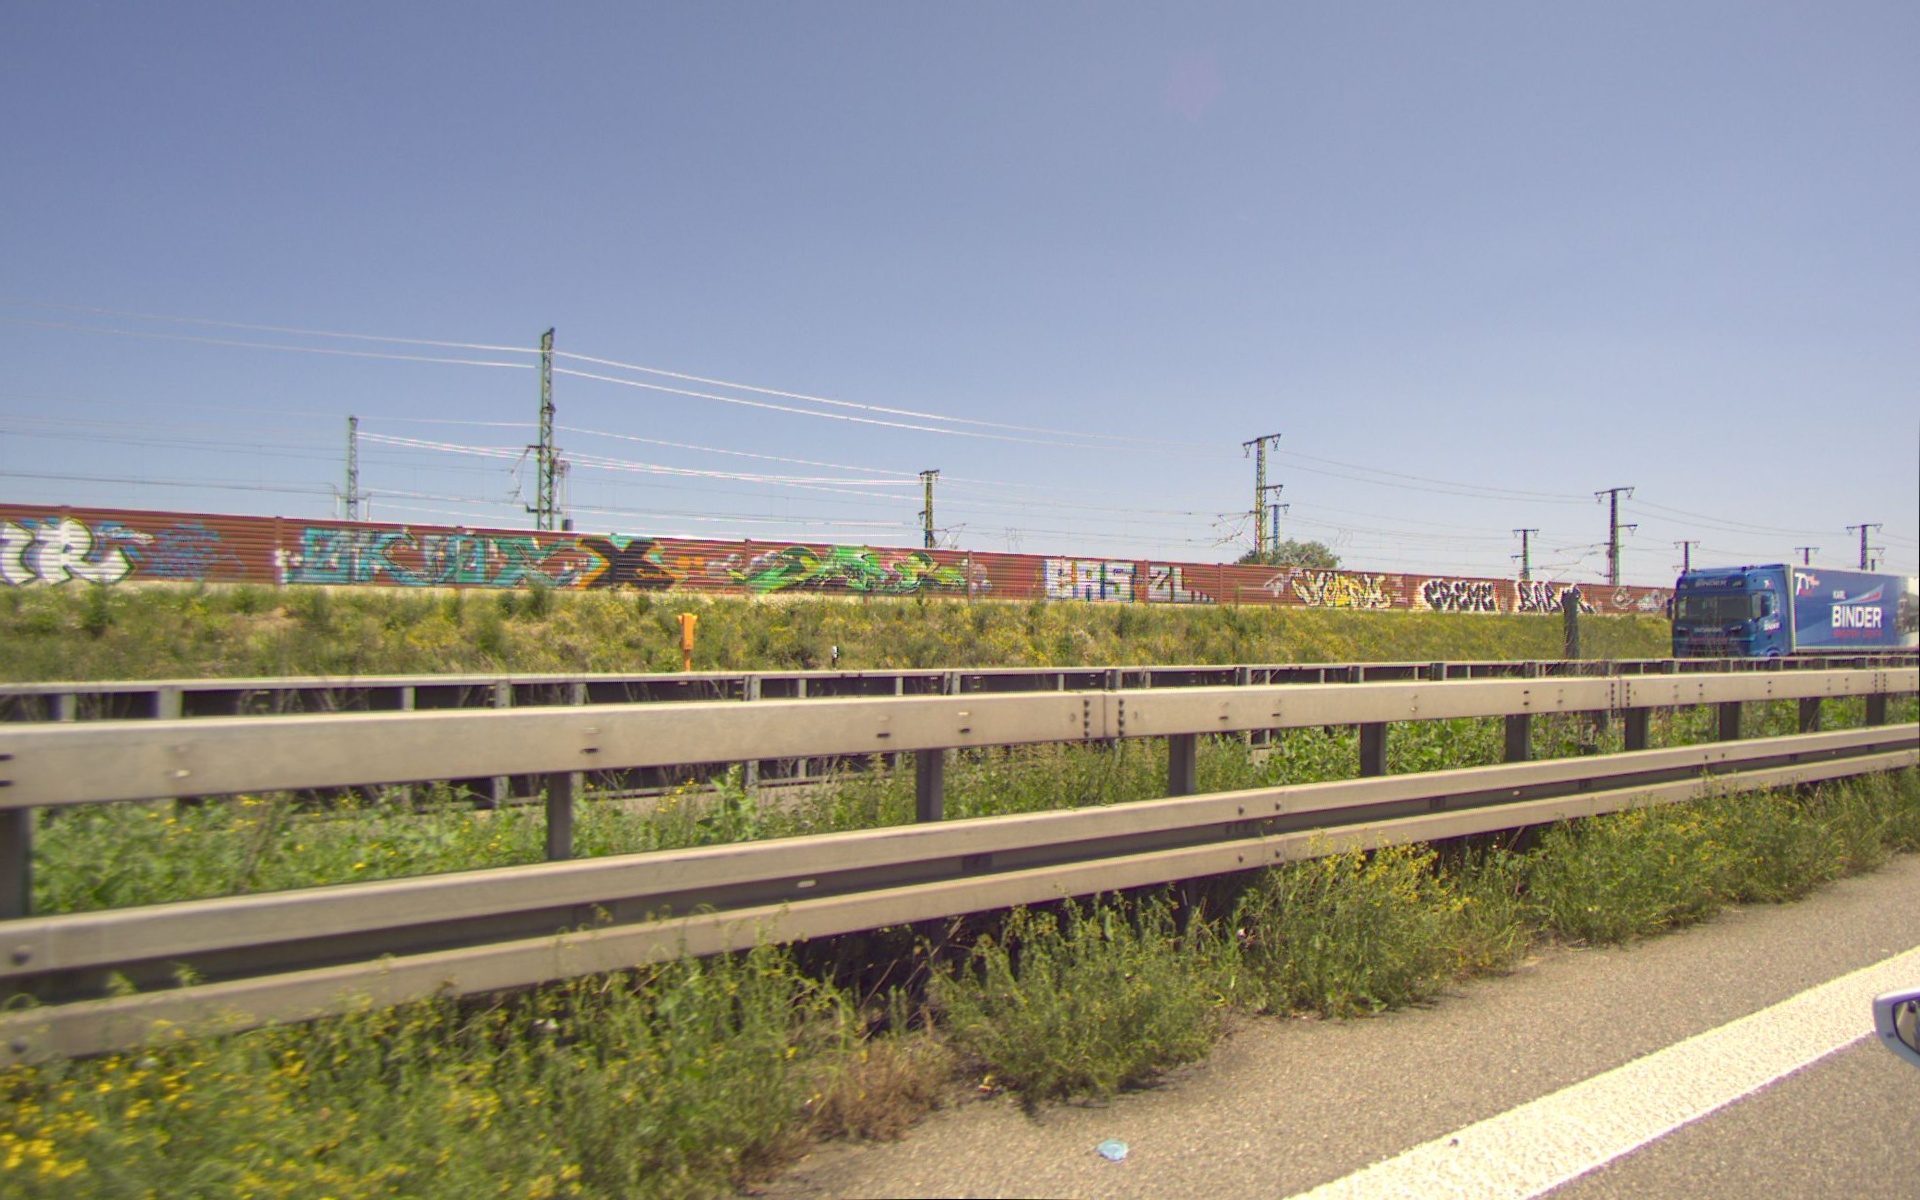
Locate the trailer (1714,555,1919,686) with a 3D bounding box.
[{"bbox_3d":[33.350,0.850,38.353,11.949,4.465,2.875,1,-2,-30],"label":"trailer"}]

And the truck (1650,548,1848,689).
[{"bbox_3d":[27.495,0.704,34.914,7.414,4.465,2.875,1,-2,-30],"label":"truck"}]
